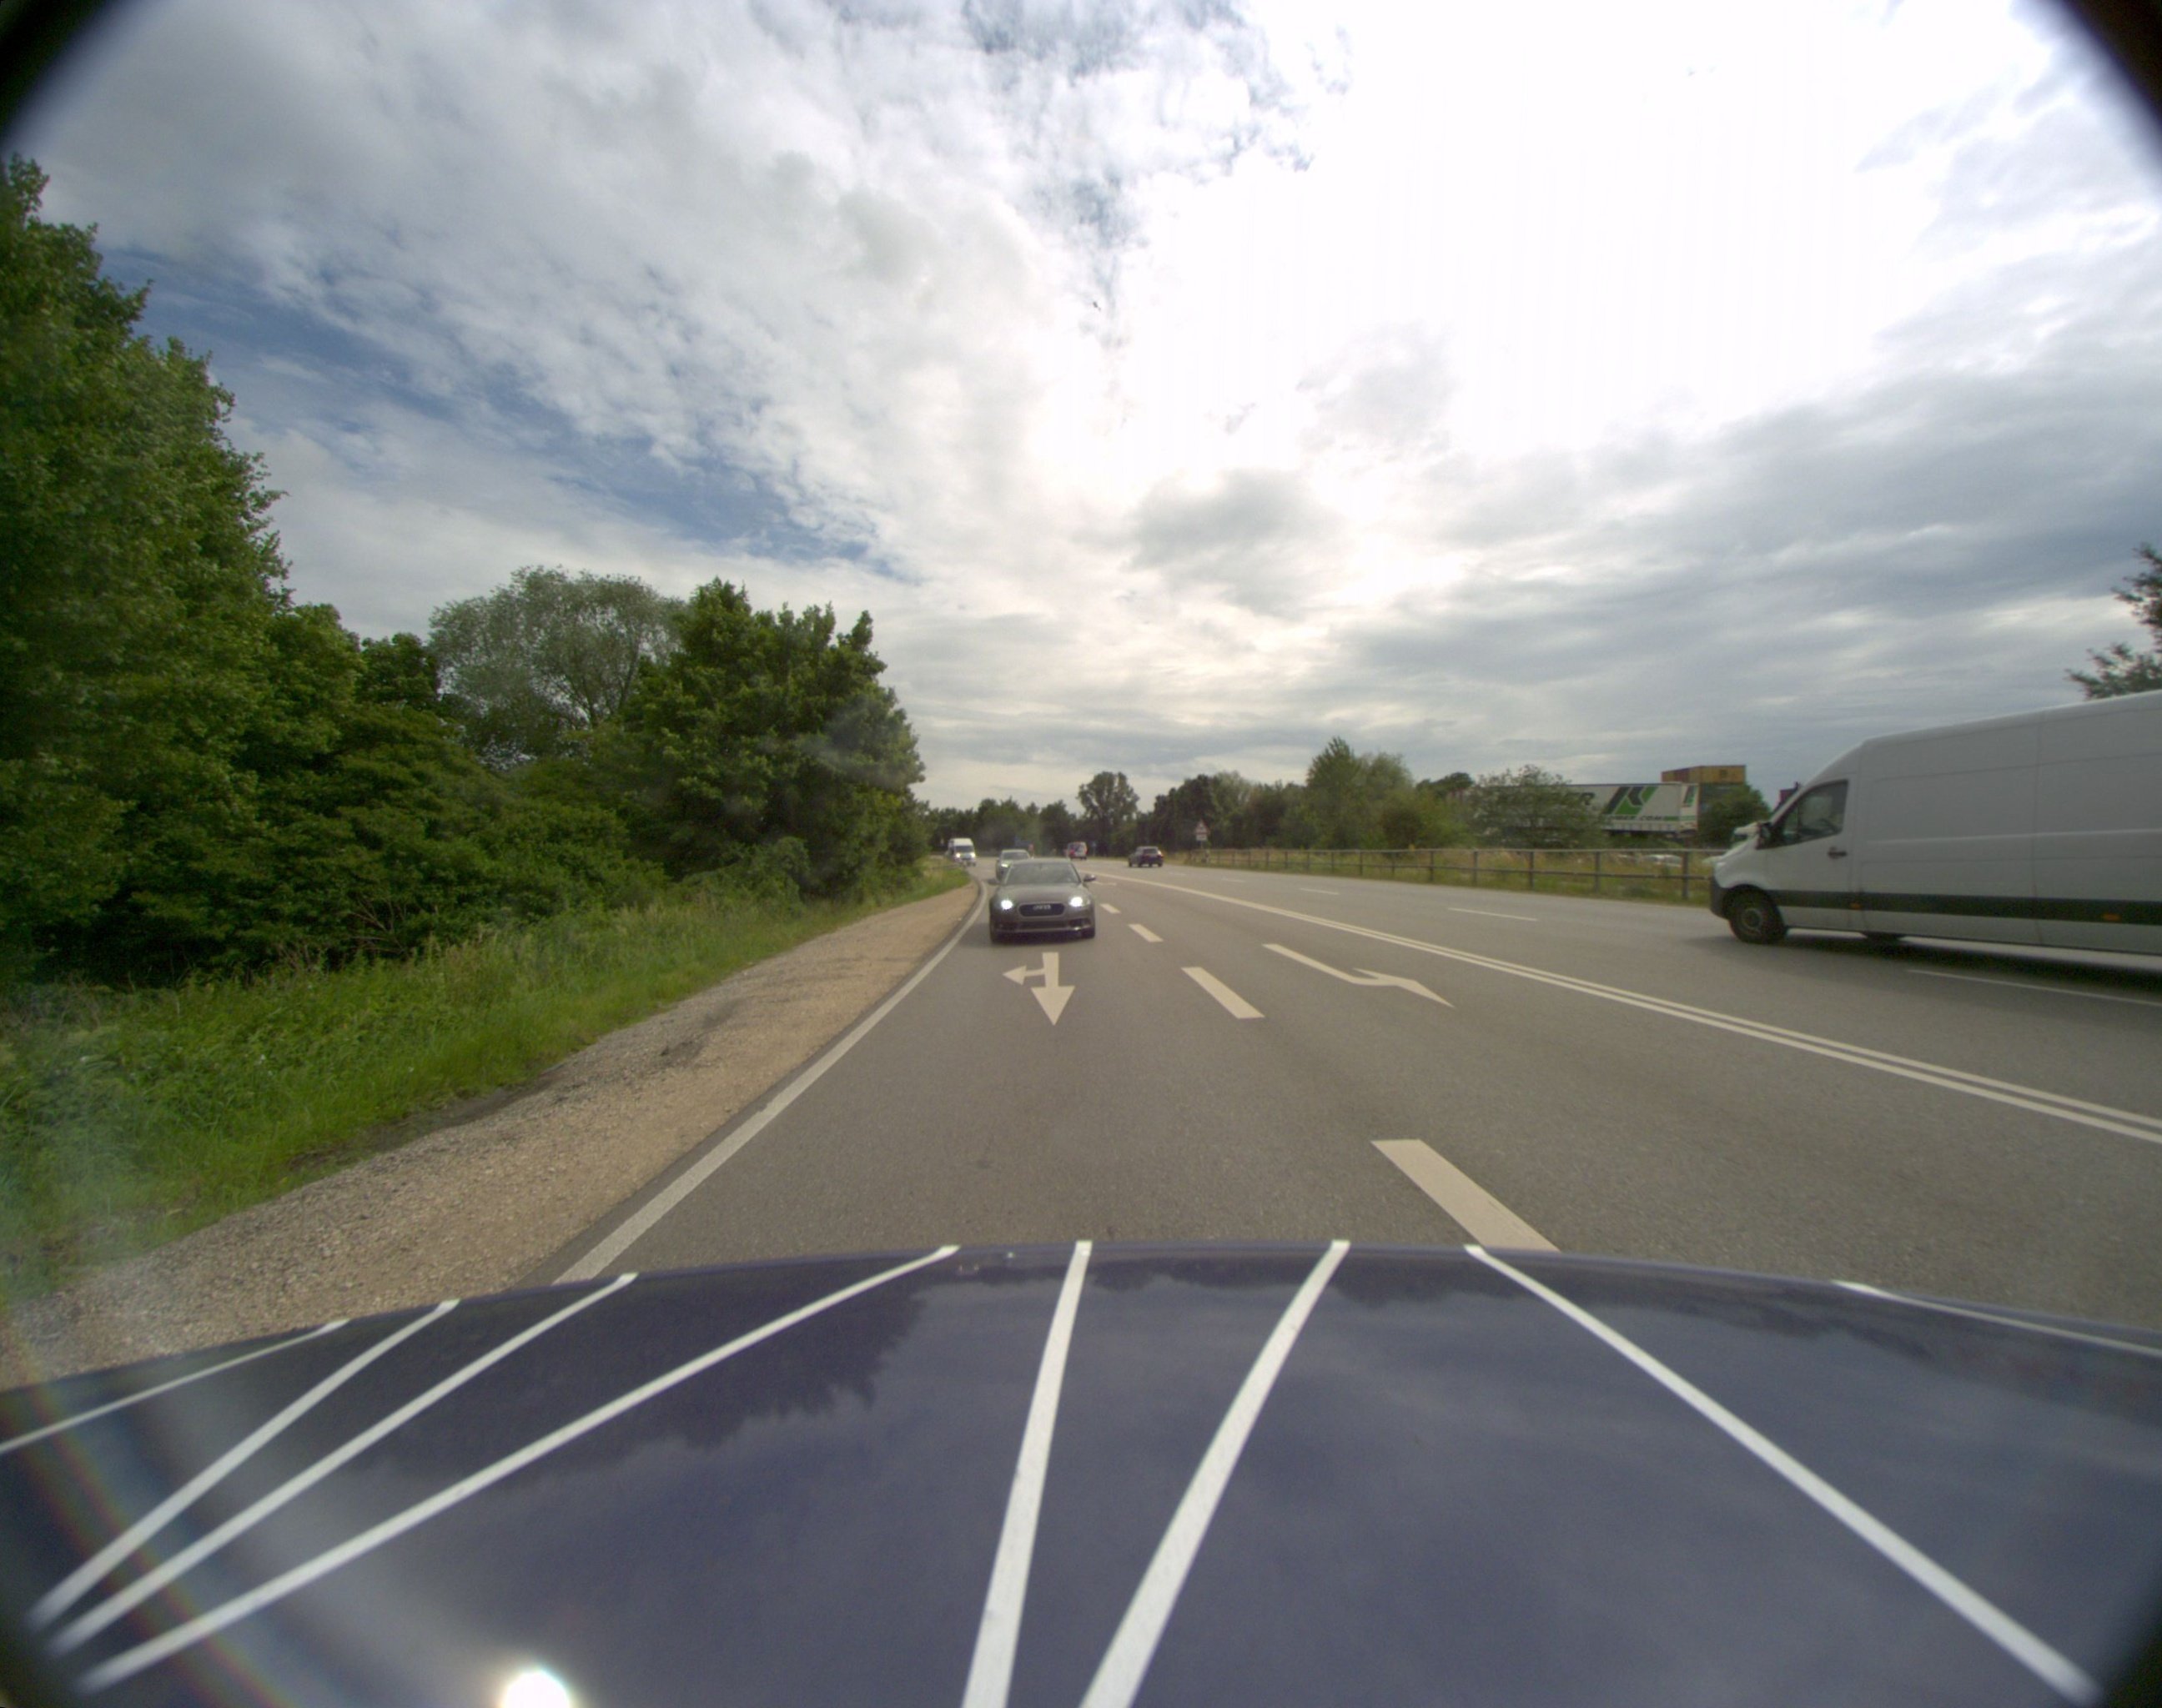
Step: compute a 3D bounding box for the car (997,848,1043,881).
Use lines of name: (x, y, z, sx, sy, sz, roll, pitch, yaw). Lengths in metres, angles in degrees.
car: (-3.369, 0.518, 41.182, 2.022, 1.603, 4.276, -2, 1, -10)

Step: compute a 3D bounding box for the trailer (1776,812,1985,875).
trailer: (59.119, -0.743, 56.746, 3.244, 4.268, 10.388, -2, 1, -17)

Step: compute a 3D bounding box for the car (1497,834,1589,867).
car: (28.508, -0.232, 47.039, 4.536, 1.865, 2.002, -2, 1, 19)

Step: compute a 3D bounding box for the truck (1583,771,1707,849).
truck: (38.624, -2.902, 52.231, 2.808, 4.968, 6.175, -3, 2, -31)

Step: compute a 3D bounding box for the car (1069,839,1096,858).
car: (0.115, -0.573, 83.303, 2.000, 2.002, 4.662, -2, 1, -10)

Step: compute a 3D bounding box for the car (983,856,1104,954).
car: (-0.795, 0.851, 14.647, 1.958, 1.527, 3.998, -2, 1, -5)

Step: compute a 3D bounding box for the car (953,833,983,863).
car: (-11.176, -0.557, 74.829, 2.221, 2.654, 5.234, -4, 0, -14)

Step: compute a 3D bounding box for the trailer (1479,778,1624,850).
trailer: (35.381, -2.877, 57.576, 2.811, 4.968, 8.962, -3, 2, -31)

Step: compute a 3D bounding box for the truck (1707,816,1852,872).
truck: (57.274, -0.813, 62.636, 3.244, 4.268, 8.305, -2, 1, -17)

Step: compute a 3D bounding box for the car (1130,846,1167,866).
car: (4.928, 0.128, 56.312, 1.814, 1.433, 4.350, -2, 1, -7)

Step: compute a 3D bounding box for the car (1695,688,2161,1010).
car: (10.114, -0.082, 7.438, 2.440, 2.659, 6.886, -2, 1, -2)
